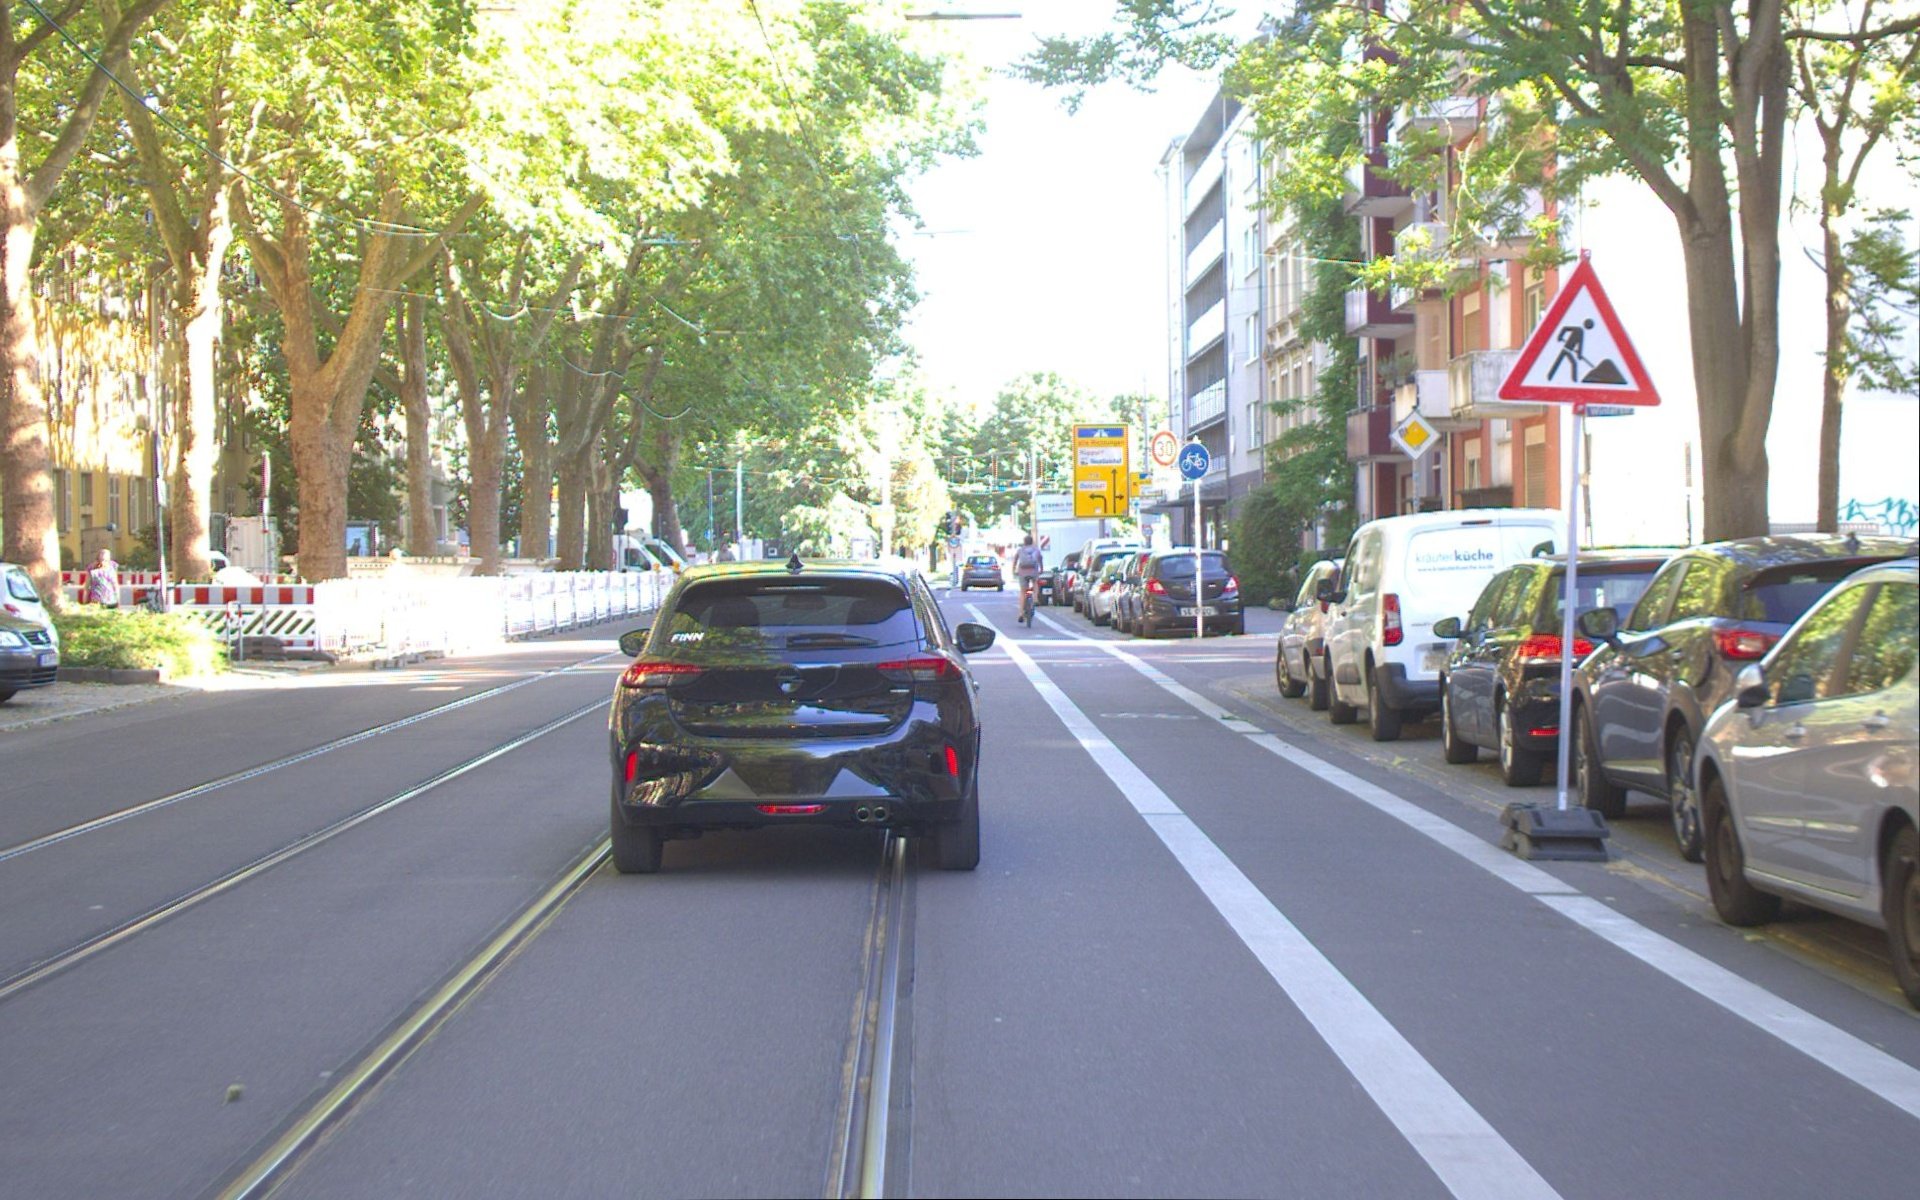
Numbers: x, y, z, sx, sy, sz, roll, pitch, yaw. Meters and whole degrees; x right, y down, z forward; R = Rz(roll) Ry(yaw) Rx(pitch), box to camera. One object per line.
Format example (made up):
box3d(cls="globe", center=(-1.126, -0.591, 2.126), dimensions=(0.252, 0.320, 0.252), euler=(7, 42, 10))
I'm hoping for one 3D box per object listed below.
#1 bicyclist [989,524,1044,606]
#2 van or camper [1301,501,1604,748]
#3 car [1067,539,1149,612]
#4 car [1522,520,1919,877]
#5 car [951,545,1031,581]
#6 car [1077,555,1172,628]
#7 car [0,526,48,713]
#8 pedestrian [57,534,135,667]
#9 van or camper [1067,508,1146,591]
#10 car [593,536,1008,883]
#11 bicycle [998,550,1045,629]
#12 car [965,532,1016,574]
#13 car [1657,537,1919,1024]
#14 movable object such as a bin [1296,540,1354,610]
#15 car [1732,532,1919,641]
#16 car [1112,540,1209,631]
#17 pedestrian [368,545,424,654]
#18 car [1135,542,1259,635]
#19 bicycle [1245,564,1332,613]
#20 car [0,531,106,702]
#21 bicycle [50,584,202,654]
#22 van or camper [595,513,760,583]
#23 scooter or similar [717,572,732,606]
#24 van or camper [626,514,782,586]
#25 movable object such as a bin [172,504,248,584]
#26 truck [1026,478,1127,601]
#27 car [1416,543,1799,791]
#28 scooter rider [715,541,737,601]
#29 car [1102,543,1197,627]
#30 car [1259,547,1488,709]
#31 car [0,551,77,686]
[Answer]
box3d(cls="bicyclist", center=(1.147, -0.717, 70.083), dimensions=(1.089, 1.641, 1.400), euler=(0, 1, 0))
box3d(cls="van or camper", center=(3.998, 0.143, 28.661), dimensions=(1.755, 1.858, 4.831), euler=(-1, 1, -1))
box3d(cls="car", center=(3.334, -0.573, 77.849), dimensions=(1.660, 1.575, 3.589), euler=(-2, 1, 0))
box3d(cls="car", center=(4.207, 0.405, 17.815), dimensions=(1.767, 1.567, 4.337), euler=(-2, 1, -1))
box3d(cls="car", center=(1.610, -1.923, 178.665), dimensions=(1.917, 1.690, 4.321), euler=(-3, 1, -36))
box3d(cls="car", center=(3.448, -0.207, 72.819), dimensions=(1.659, 1.394, 4.740), euler=(-2, 1, -1))
box3d(cls="car", center=(-11.058, 0.165, 32.882), dimensions=(4.198, 1.751, 1.740), euler=(0, 1, 1))
box3d(cls="pedestrian", center=(-11.375, 0.003, 45.275), dimensions=(0.822, 1.739, 0.796), euler=(1, 0, 0))
box3d(cls="van or camper", center=(3.502, -1.214, 82.524), dimensions=(1.669, 1.876, 4.211), euler=(-2, 1, 0))
box3d(cls="car", center=(-0.715, 0.440, 16.803), dimensions=(1.781, 1.491, 4.000), euler=(0, 1, -1))
box3d(cls="bicycle", center=(1.243, -0.231, 70.120), dimensions=(0.916, 1.555, 3.405), euler=(0, 1, 0))
box3d(cls="car", center=(1.284, -2.014, 146.203), dimensions=(1.993, 1.690, 4.740), euler=(-2, 1, -1))
box3d(cls="car", center=(3.910, 0.535, 12.438), dimensions=(1.788, 1.517, 4.322), euler=(-2, 1, -1))
box3d(cls="movable object such as a bin", center=(7.002, -0.475, 66.027), dimensions=(0.923, 1.322, 1.682), euler=(1, 0, 0))
box3d(cls="car", center=(13.388, -0.206, 50.057), dimensions=(3.913, 1.477, 1.562), euler=(0, 4, -1))
box3d(cls="car", center=(3.615, -0.272, 62.402), dimensions=(1.526, 1.584, 3.752), euler=(1, 0, 0))
box3d(cls="pedestrian", center=(-8.676, -0.011, 52.897), dimensions=(0.716, 1.663, 0.778), euler=(1, 0, 0))
box3d(cls="car", center=(3.994, -0.230, 58.507), dimensions=(1.733, 1.457, 3.916), euler=(-2, 1, -1))
box3d(cls="bicycle", center=(7.312, -0.256, 76.504), dimensions=(1.894, 1.026, 0.476), euler=(-2, 1, 5))
box3d(cls="car", center=(-11.133, 0.171, 35.134), dimensions=(4.235, 1.682, 1.933), euler=(-1, 1, 7))
box3d(cls="bicycle", center=(-11.833, 0.263, 48.835), dimensions=(1.972, 0.959, 0.726), euler=(0, 1, 1))
box3d(cls="van or camper", center=(-9.916, -1.814, 120.873), dimensions=(5.502, 2.371, 2.269), euler=(1, 0, 3))
box3d(cls="scooter or similar", center=(-7.653, -0.368, 111.747), dimensions=(0.407, 1.079, 1.338), euler=(1, 0, 0))
box3d(cls="van or camper", center=(-9.684, -1.885, 130.278), dimensions=(5.723, 2.635, 2.269), euler=(1, 0, 0))
box3d(cls="movable object such as a bin", center=(-17.675, -1.311, 81.063), dimensions=(1.333, 1.862, 2.008), euler=(1, 0, 0))
box3d(cls="truck", center=(3.332, -1.735, 99.963), dimensions=(2.538, 3.326, 7.195), euler=(-3, 1, 0))
box3d(cls="car", center=(4.197, 0.369, 22.895), dimensions=(1.705, 1.468, 4.168), euler=(-1, 1, -1))
box3d(cls="scooter rider", center=(-7.605, -0.941, 111.718), dimensions=(0.649, 1.950, 0.624), euler=(1, 0, 0))
box3d(cls="car", center=(3.679, -0.295, 67.115), dimensions=(1.591, 1.521, 3.835), euler=(-2, 0, 0))
box3d(cls="car", center=(4.011, 0.228, 33.897), dimensions=(1.705, 1.468, 4.000), euler=(-1, 1, -1))
box3d(cls="car", center=(-12.274, 0.221, 39.321), dimensions=(3.847, 1.492, 1.862), euler=(-1, 1, 0))
